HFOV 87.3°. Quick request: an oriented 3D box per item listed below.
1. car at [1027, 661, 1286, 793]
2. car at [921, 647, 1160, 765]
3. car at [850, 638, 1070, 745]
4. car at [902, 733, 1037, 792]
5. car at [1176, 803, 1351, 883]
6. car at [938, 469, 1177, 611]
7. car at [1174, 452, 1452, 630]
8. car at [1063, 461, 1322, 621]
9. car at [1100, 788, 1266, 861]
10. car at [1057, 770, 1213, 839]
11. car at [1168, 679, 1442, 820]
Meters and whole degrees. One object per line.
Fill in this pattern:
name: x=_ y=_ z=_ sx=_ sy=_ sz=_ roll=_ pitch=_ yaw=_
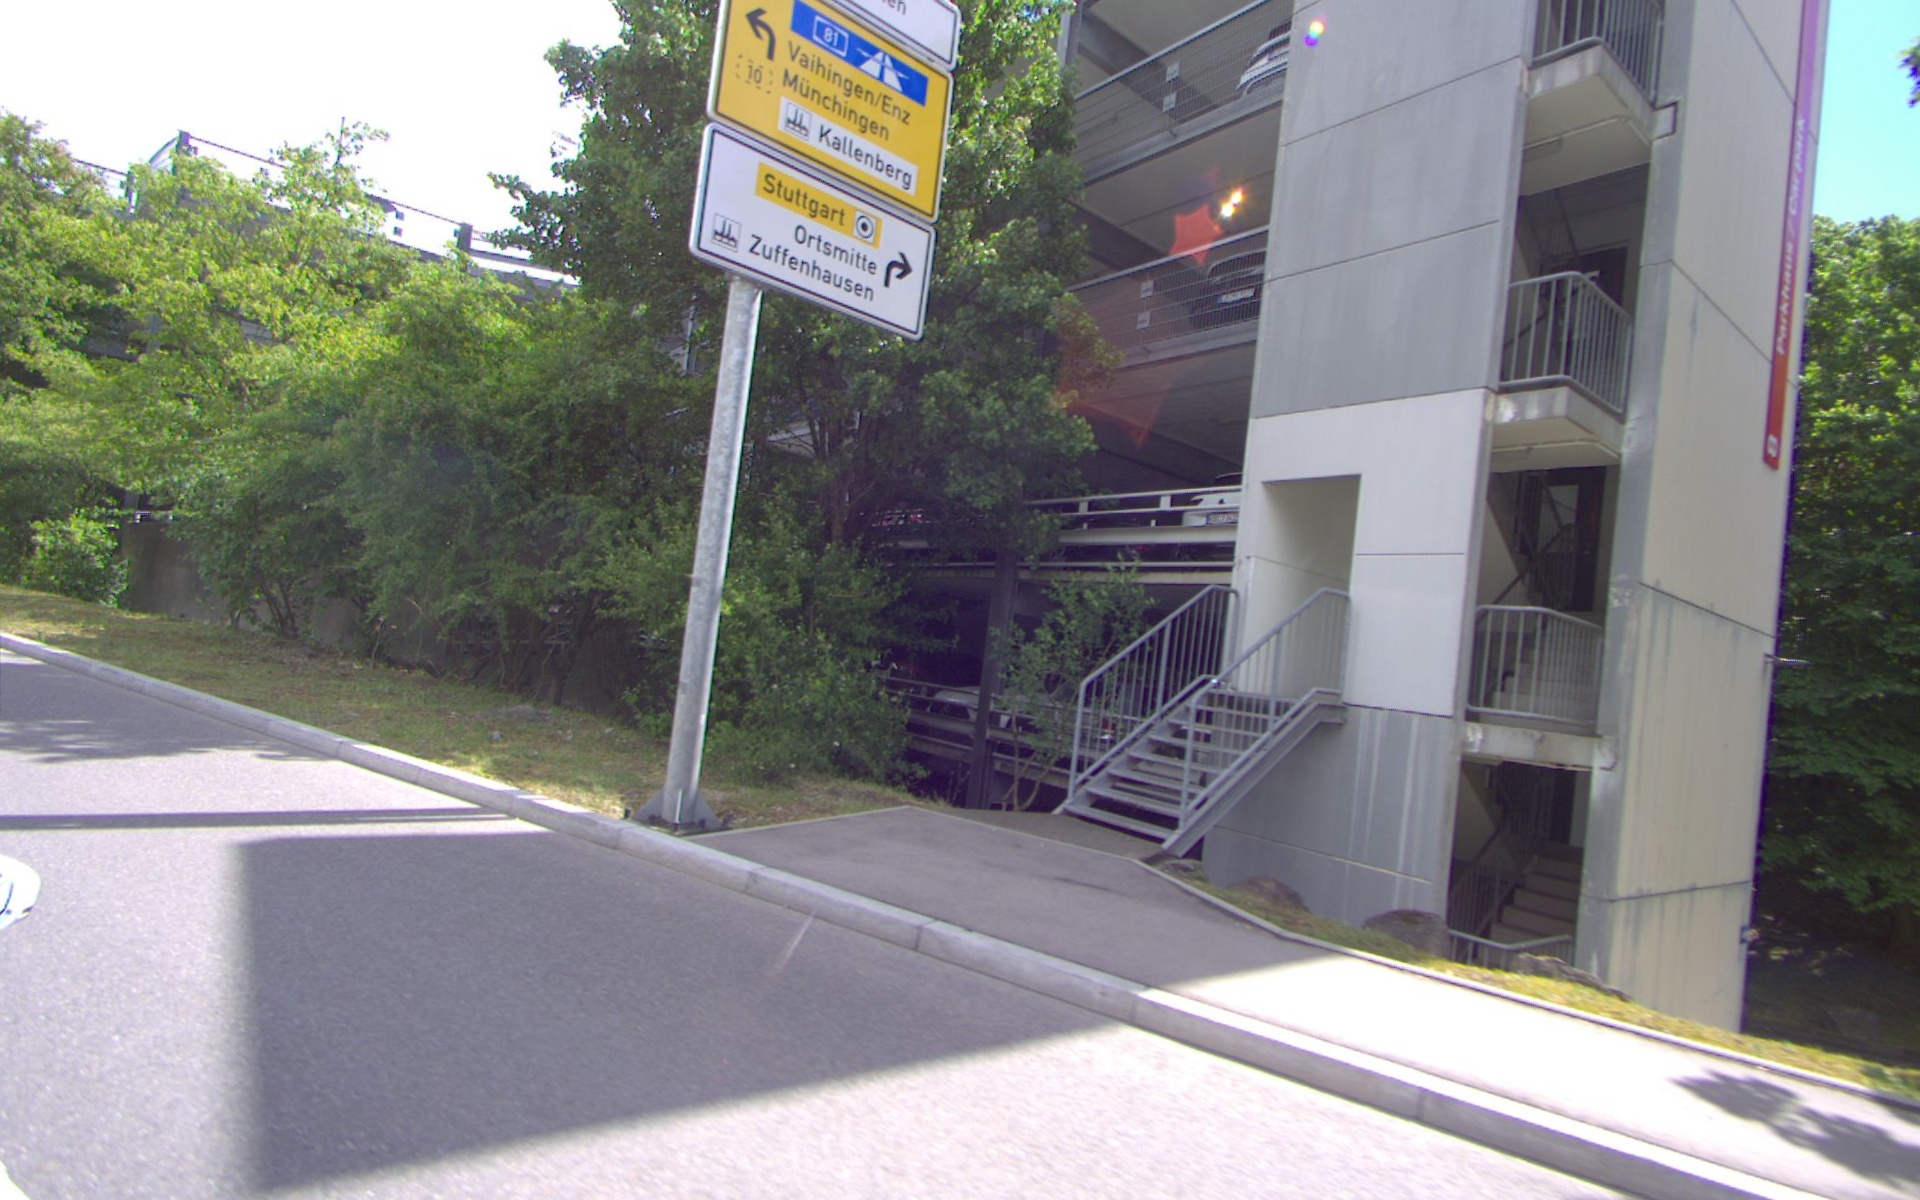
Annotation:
car: x=3.015 y=1.943 z=15.119 sx=3.748 sy=1.508 sz=1.648 roll=10 pitch=-3 yaw=-38
car: x=1.411 y=1.812 z=16.859 sx=3.748 sy=1.486 sz=1.648 roll=10 pitch=-3 yaw=-38
car: x=0.061 y=1.722 z=18.657 sx=3.748 sy=1.486 sz=1.648 roll=10 pitch=-3 yaw=-38
car: x=0.356 y=5.762 z=35.546 sx=4.288 sy=1.505 sz=1.983 roll=10 pitch=-3 yaw=-33
car: x=7.950 y=6.341 z=26.277 sx=4.288 sy=1.505 sz=1.983 roll=10 pitch=-3 yaw=-33
car: x=1.693 y=-0.933 z=16.842 sx=3.748 sy=1.643 sz=1.648 roll=10 pitch=-3 yaw=-38
car: x=4.829 y=-0.695 z=13.567 sx=3.748 sy=1.643 sz=1.648 roll=10 pitch=-3 yaw=-38
car: x=3.541 y=-0.789 z=15.032 sx=3.748 sy=1.643 sz=1.648 roll=10 pitch=-3 yaw=-38
car: x=6.261 y=6.279 z=28.063 sx=4.288 sy=1.505 sz=1.983 roll=10 pitch=-3 yaw=-33
car: x=5.253 y=6.100 z=29.997 sx=4.288 sy=1.505 sz=1.983 roll=10 pitch=-3 yaw=-33
car: x=4.774 y=2.076 z=13.726 sx=3.748 sy=1.480 sz=1.648 roll=10 pitch=-3 yaw=-38
